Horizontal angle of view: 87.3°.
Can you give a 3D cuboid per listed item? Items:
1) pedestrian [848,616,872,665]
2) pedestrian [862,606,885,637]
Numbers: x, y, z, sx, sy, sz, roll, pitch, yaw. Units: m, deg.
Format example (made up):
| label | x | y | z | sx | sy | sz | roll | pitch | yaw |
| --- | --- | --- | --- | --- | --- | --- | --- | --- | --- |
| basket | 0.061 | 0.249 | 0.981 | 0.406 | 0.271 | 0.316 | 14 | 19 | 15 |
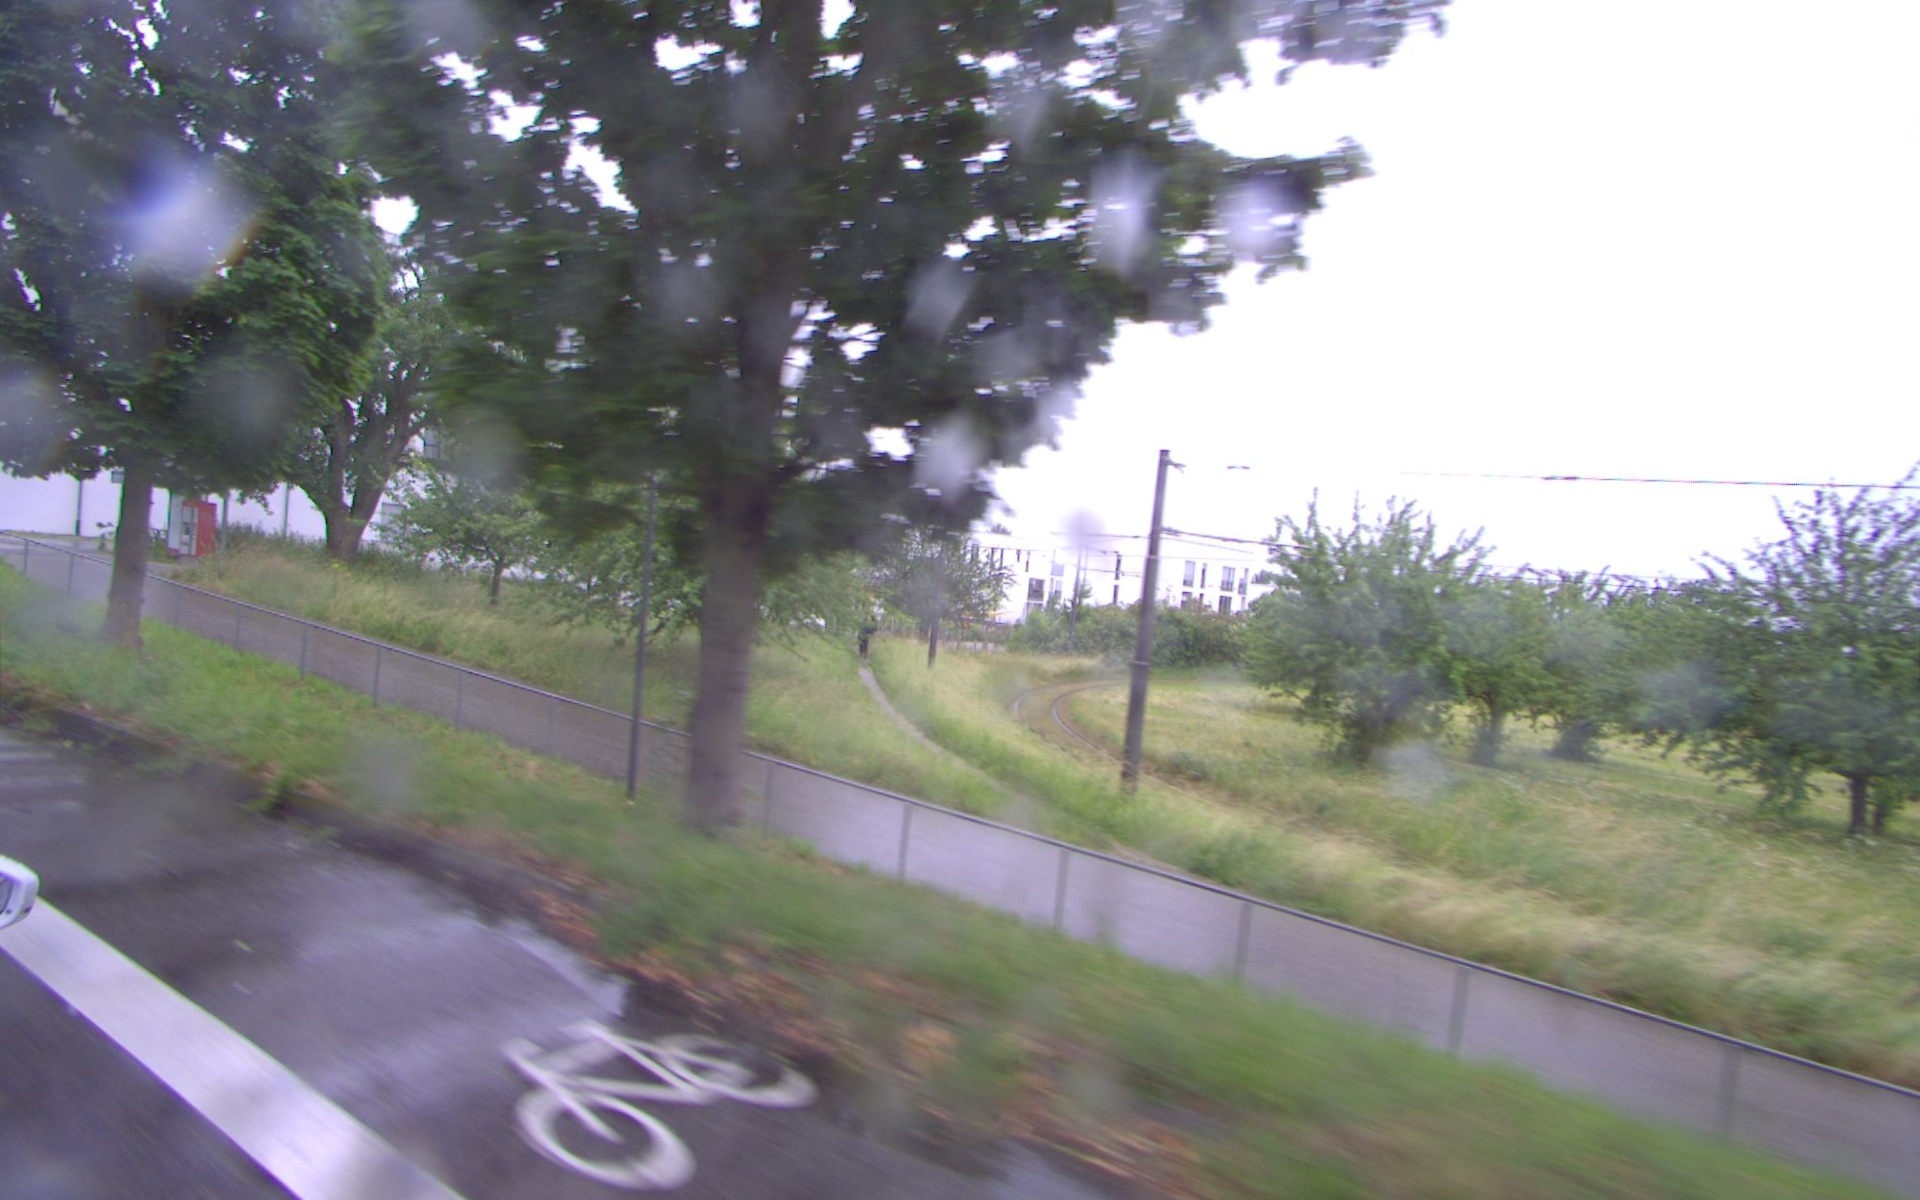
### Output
| label | x | y | z | sx | sy | sz | roll | pitch | yaw |
| --- | --- | --- | --- | --- | --- | --- | --- | --- | --- |
| pedestrian | -4.390 | 1.779 | 44.258 | 0.762 | 2.040 | 0.770 | 7 | 2 | -3 |
| pedestrian | -5.414 | 1.356 | 62.695 | 0.881 | 1.807 | 0.885 | 9 | 3 | 42 |
